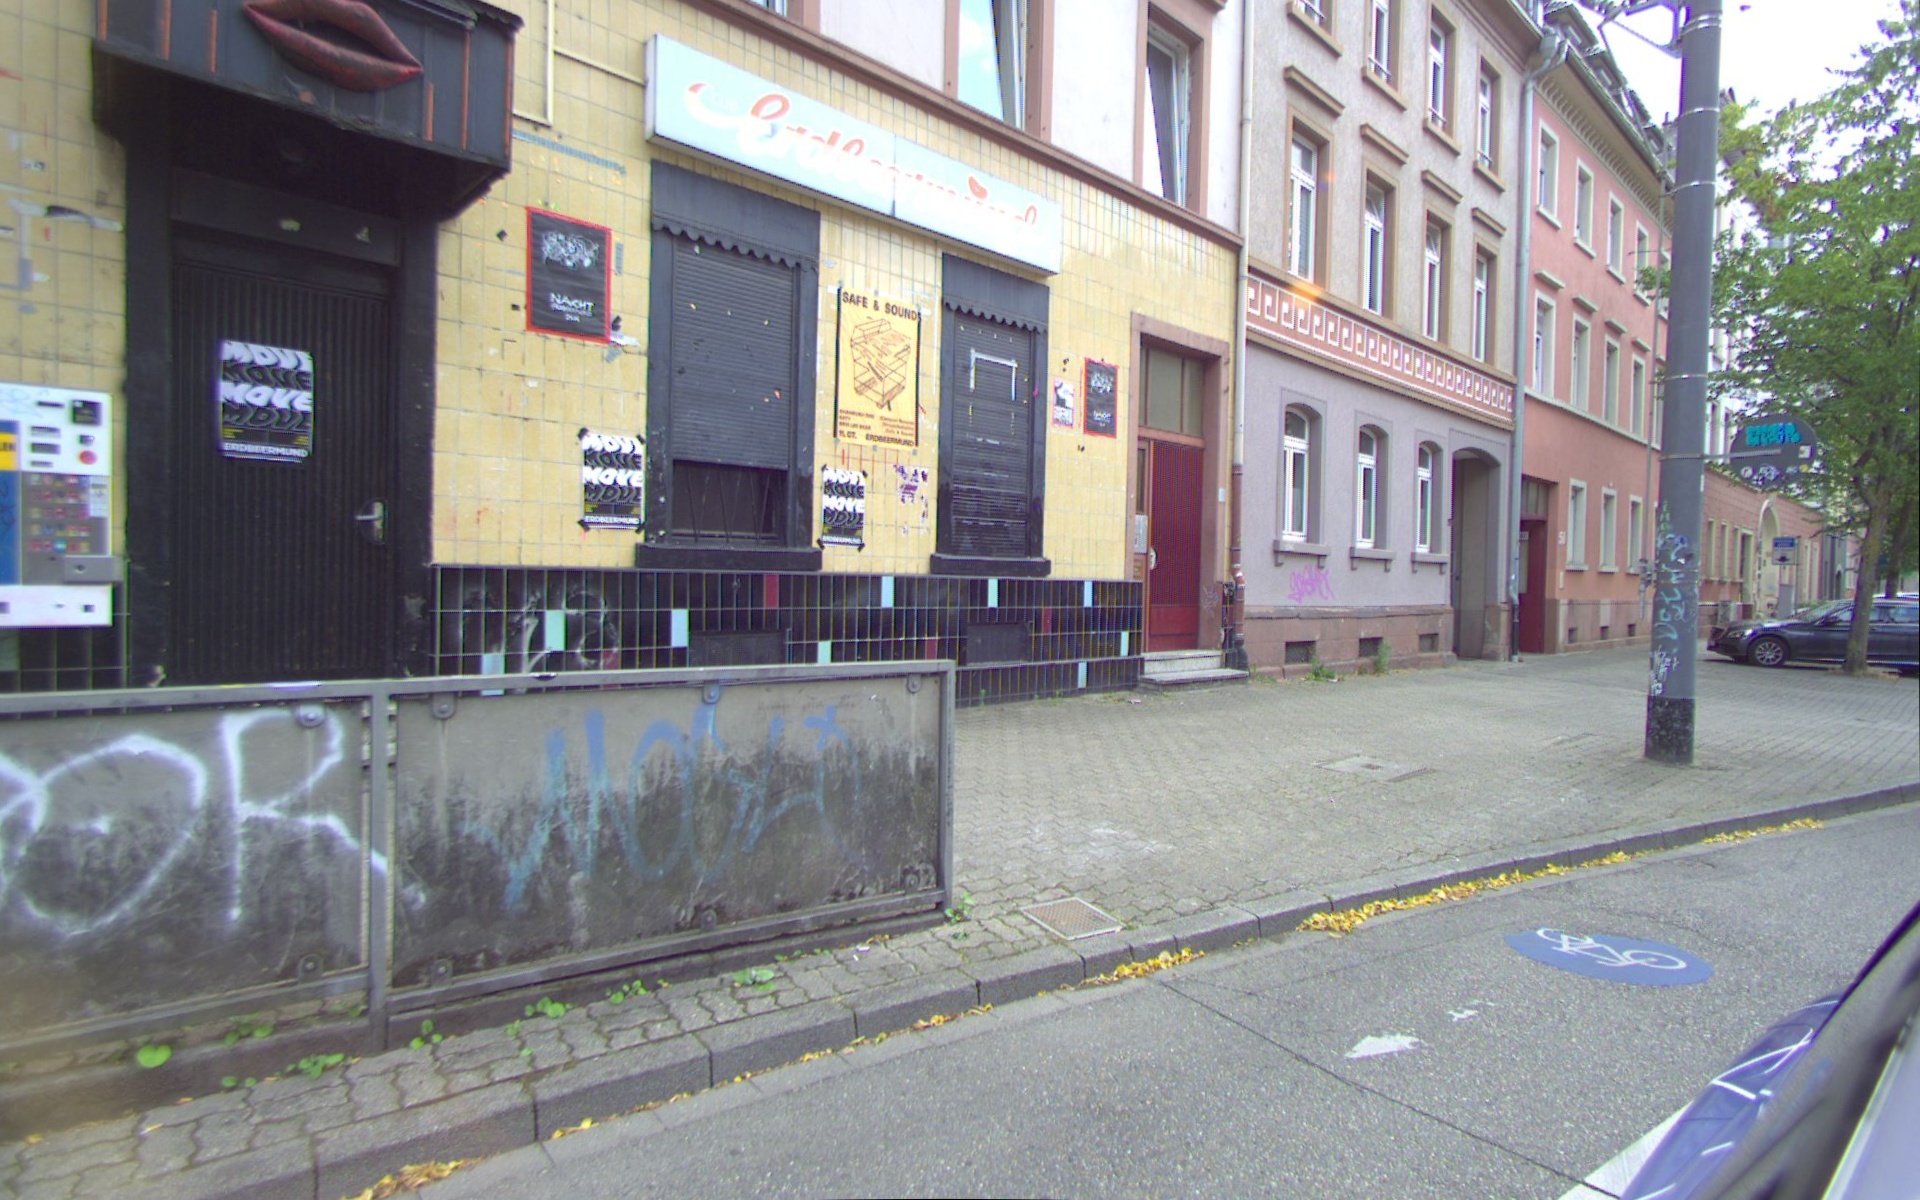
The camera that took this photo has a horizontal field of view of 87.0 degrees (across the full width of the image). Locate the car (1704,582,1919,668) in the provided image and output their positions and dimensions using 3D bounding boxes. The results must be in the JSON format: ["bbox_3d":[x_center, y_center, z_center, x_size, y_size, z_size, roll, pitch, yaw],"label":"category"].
[{"bbox_3d":[18.036,0.501,20.372,4.581,1.491,1.774,3,2,25],"label":"car"}]

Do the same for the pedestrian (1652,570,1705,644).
[{"bbox_3d":[17.339,0.163,24.409,0.910,1.708,0.732,1,4,-42],"label":"pedestrian"}]

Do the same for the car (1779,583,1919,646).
[{"bbox_3d":[27.692,0.443,30.562,4.196,1.719,1.725,3,2,25],"label":"car"}]

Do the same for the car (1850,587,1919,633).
[{"bbox_3d":[39.045,0.455,40.594,4.581,1.719,1.901,3,2,25],"label":"car"}]

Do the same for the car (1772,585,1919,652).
[{"bbox_3d":[23.144,0.476,25.093,4.301,1.498,1.774,3,2,25],"label":"car"}]
